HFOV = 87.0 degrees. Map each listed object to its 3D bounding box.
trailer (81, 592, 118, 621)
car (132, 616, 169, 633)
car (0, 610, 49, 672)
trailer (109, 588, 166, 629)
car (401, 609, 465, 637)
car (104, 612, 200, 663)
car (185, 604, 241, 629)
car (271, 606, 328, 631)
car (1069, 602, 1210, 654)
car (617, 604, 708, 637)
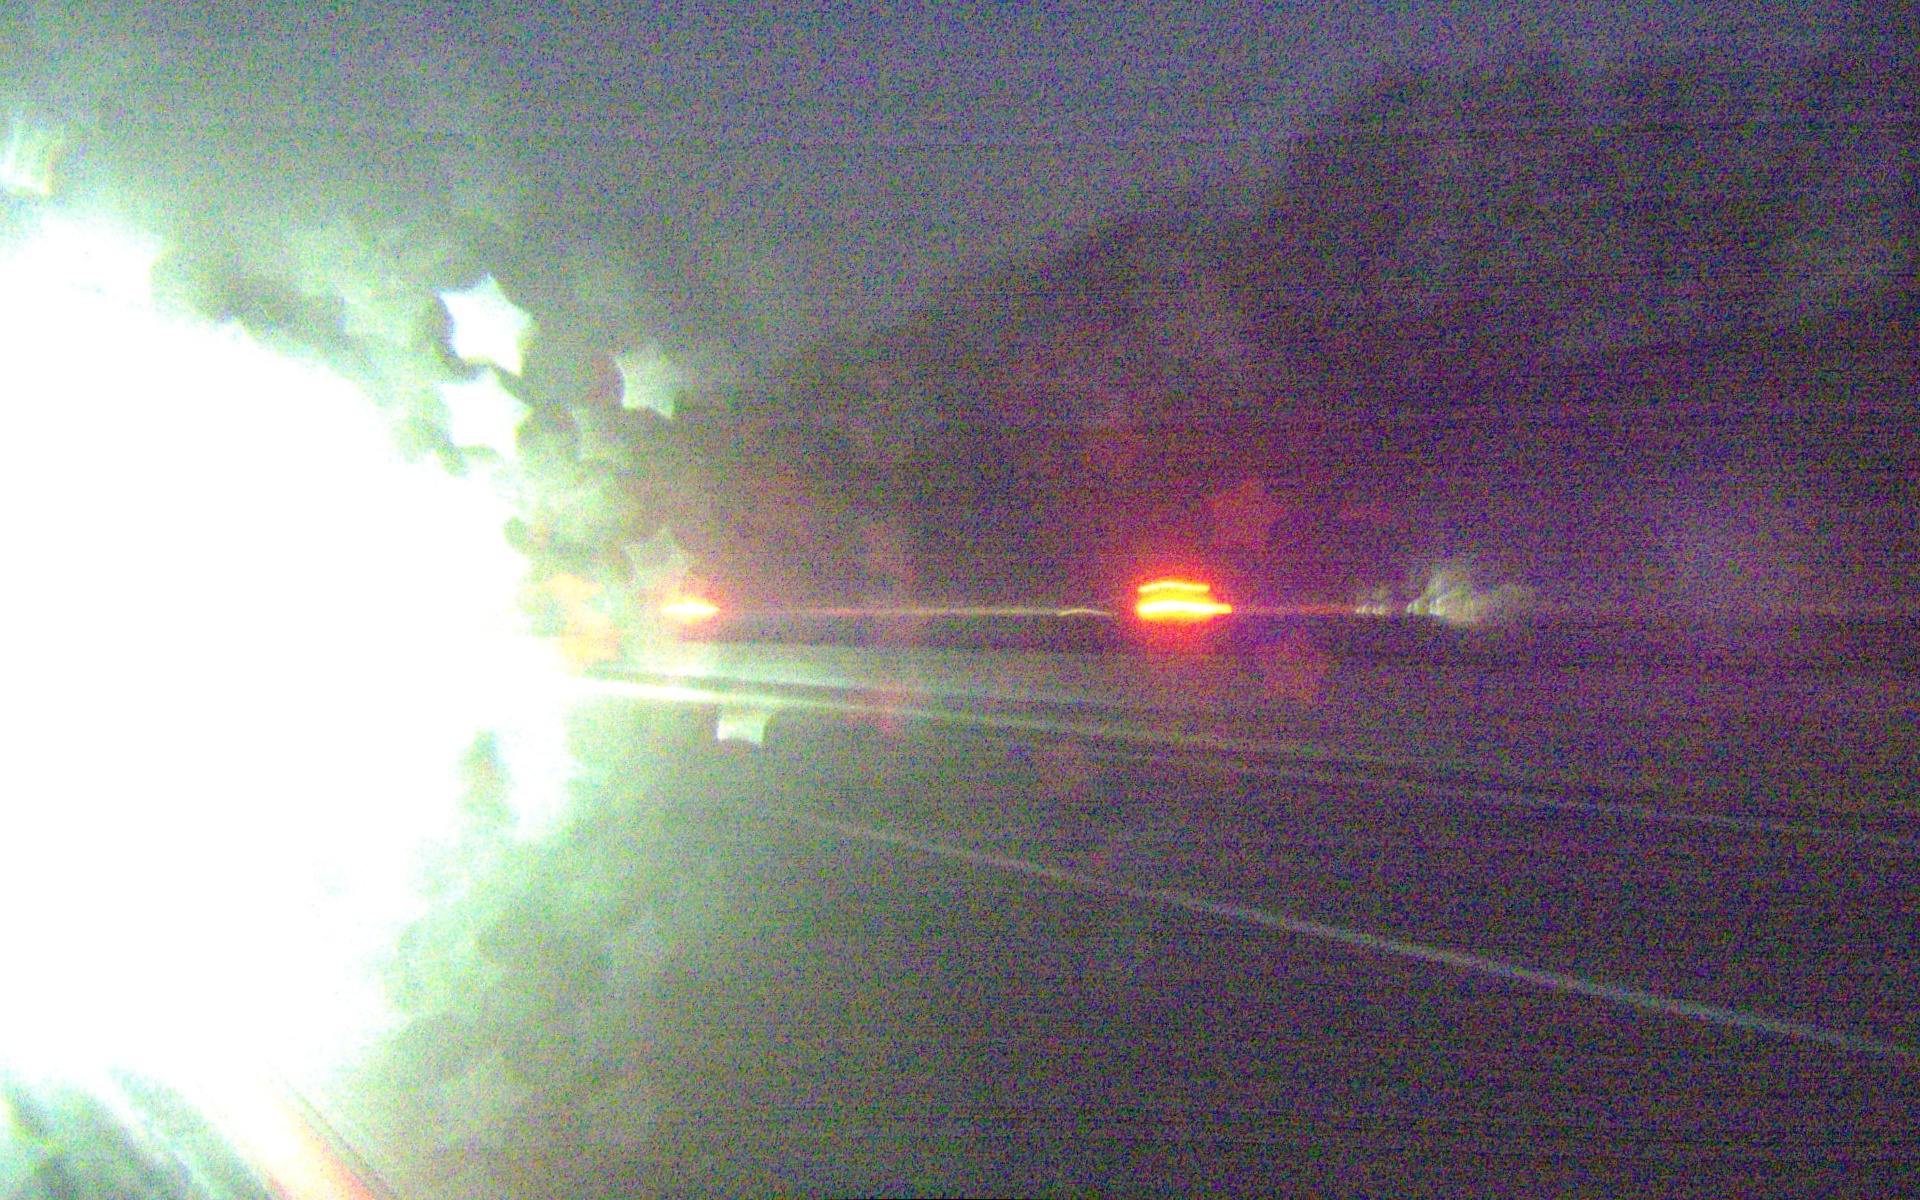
[{"bbox_3d":[-168.576,1.269,198.172,13.750,5.486,4.121,-1,0,44],"label":"trailer"},{"bbox_3d":[-77.443,2.367,96.771,4.897,1.475,1.951,-1,2,42],"label":"car"},{"bbox_3d":[-27.596,1.143,29.127,1.970,1.689,4.004,-1,0,-43],"label":"car"},{"bbox_3d":[-112.303,1.163,138.126,8.993,5.178,4.295,-1,3,42],"label":"trailer"},{"bbox_3d":[-31.133,1.341,59.725,3.997,1.475,1.941,-1,2,40],"label":"car"},{"bbox_3d":[-28.406,1.276,35.557,2.278,1.621,3.874,-1,0,-44],"label":"car"},{"bbox_3d":[-46.059,0.998,62.388,3.997,1.475,1.952,-1,0,40],"label":"car"},{"bbox_3d":[-41.733,1.158,63.912,3.997,1.475,1.952,-1,0,40],"label":"car"},{"bbox_3d":[5.472,0.811,31.147,4.001,1.475,1.689,-1,0,44],"label":"car"},{"bbox_3d":[-14.567,0.969,49.421,5.036,1.475,1.769,-1,2,40],"label":"car"}]
